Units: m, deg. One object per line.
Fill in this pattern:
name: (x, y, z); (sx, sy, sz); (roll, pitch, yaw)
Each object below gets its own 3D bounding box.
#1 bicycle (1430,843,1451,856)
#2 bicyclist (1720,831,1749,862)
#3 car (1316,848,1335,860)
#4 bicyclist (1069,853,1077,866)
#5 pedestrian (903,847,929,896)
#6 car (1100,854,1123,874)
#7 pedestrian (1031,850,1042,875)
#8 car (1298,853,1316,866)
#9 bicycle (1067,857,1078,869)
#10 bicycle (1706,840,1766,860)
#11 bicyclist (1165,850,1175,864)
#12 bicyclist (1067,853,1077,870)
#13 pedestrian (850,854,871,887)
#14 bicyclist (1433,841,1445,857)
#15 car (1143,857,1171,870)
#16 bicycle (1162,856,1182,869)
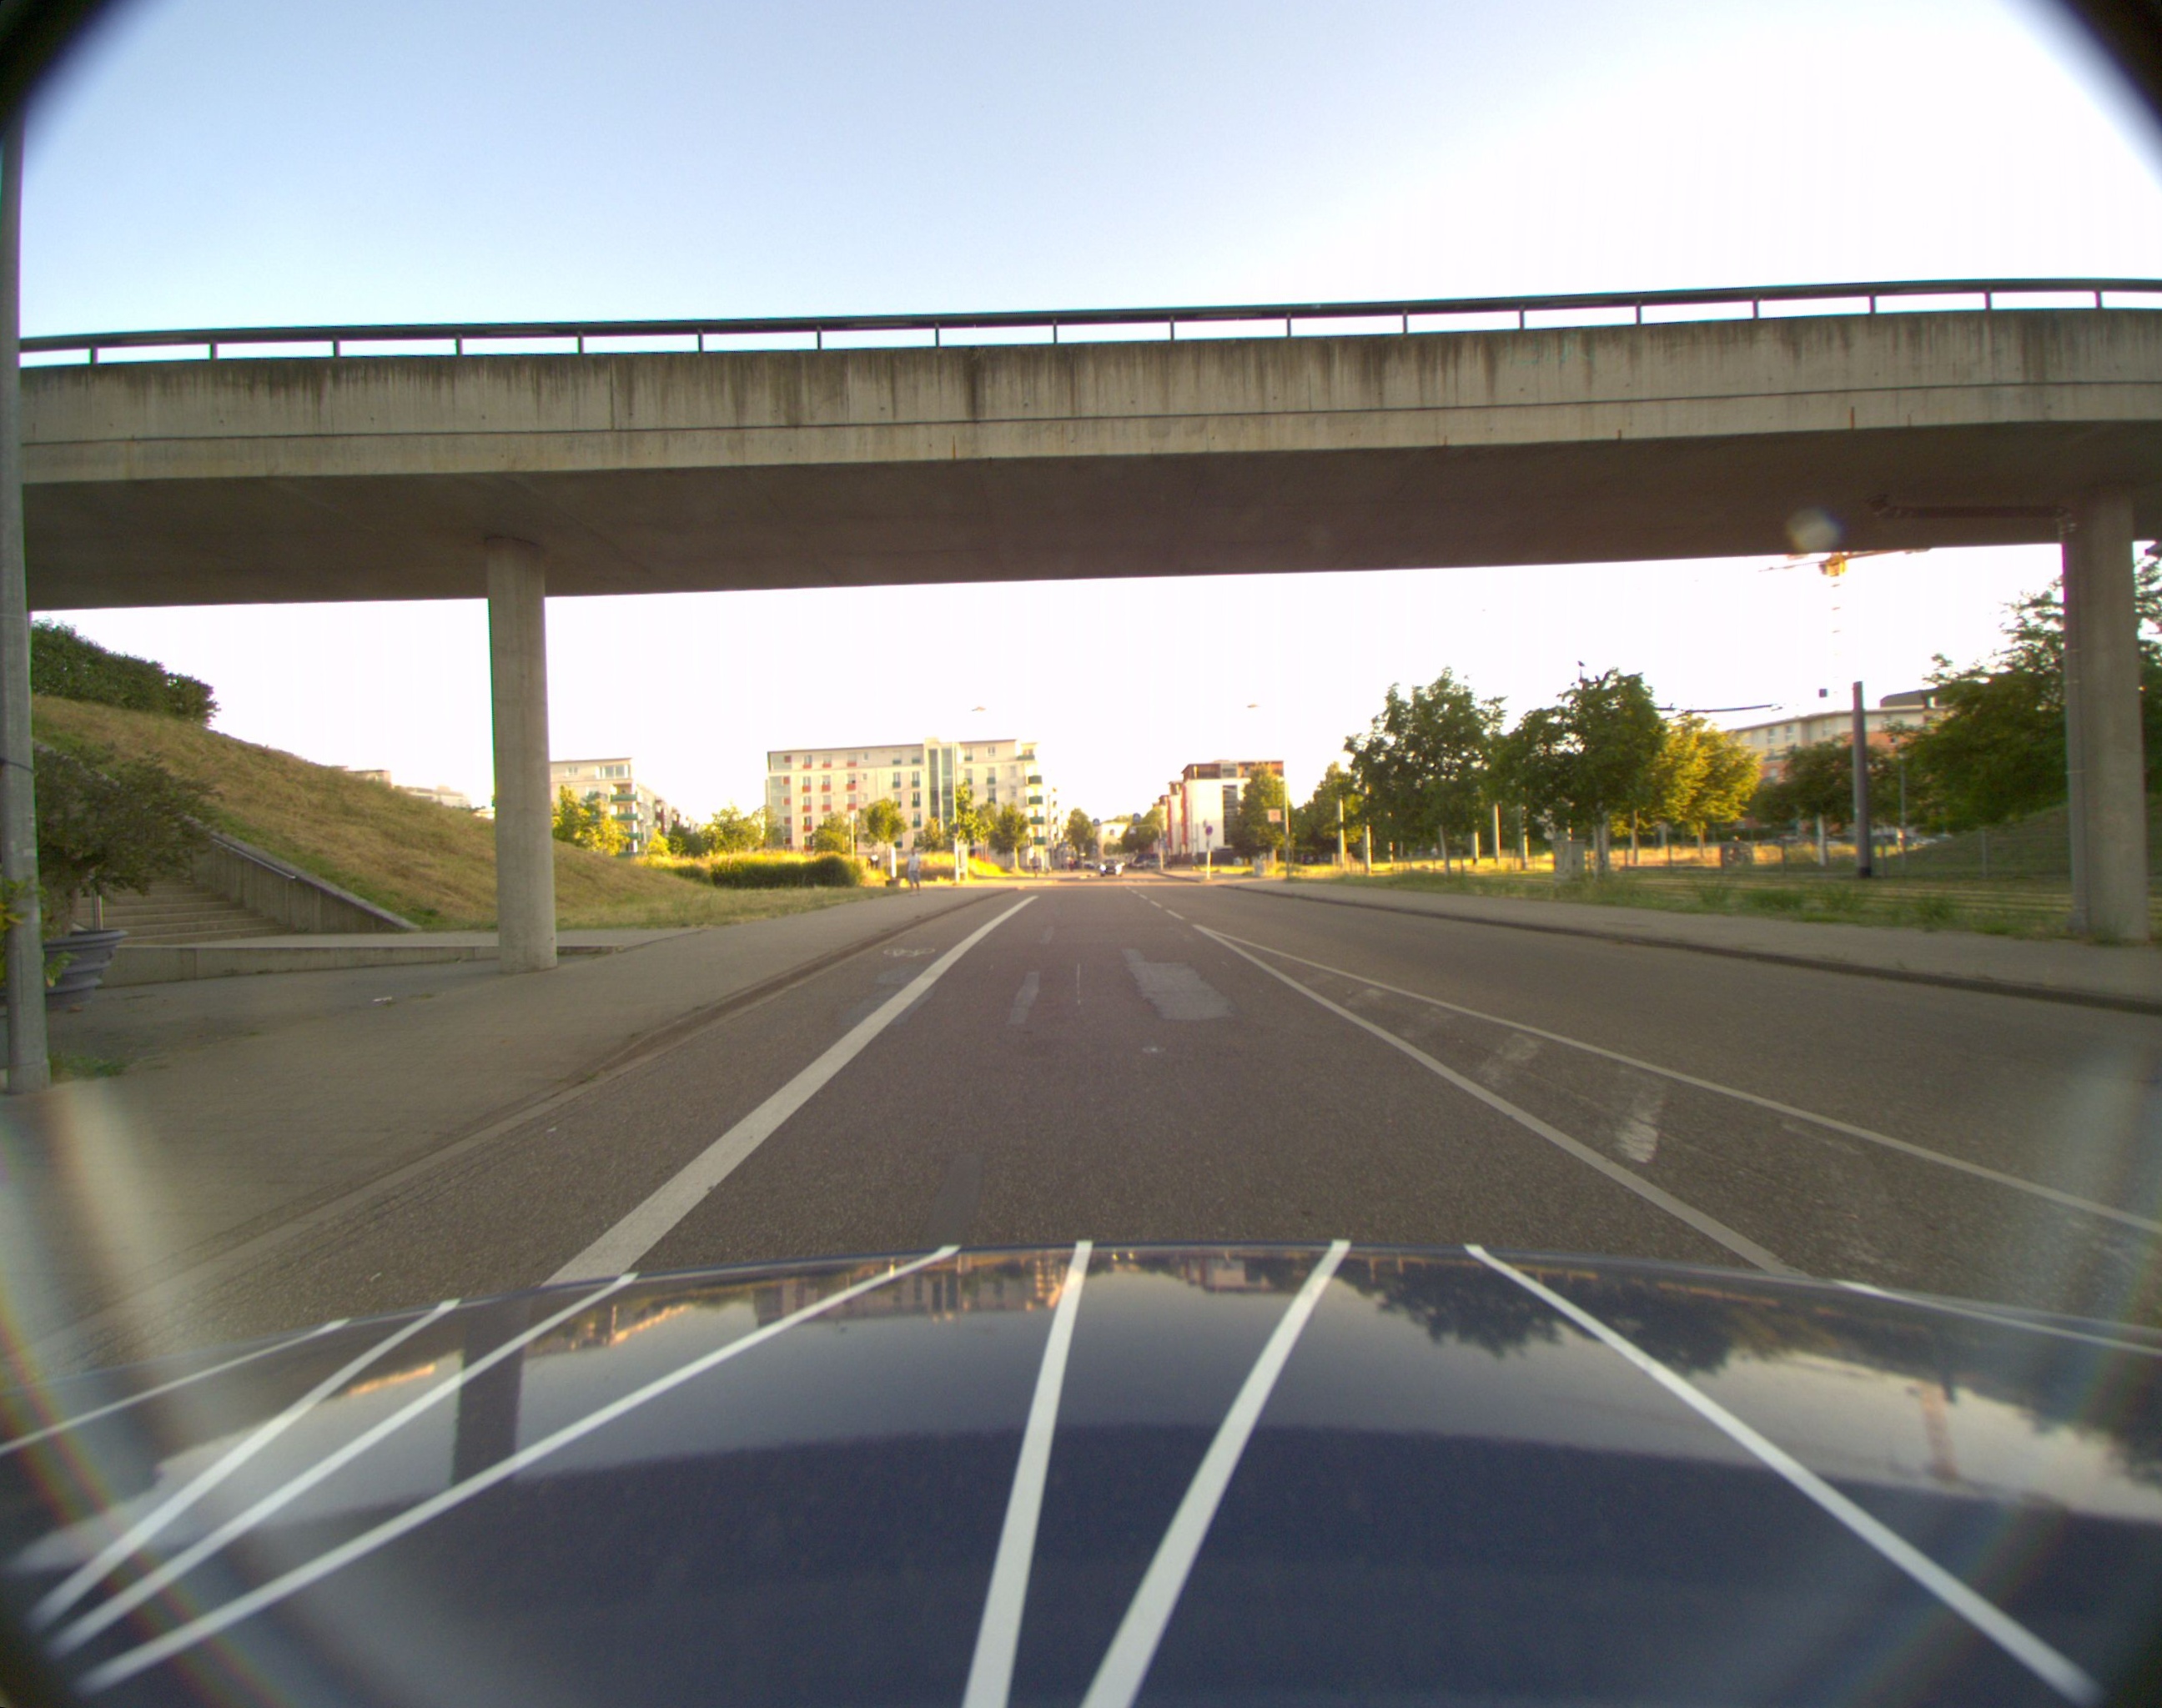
bicycle: (43.333, -0.575, 91.580); (3.327, 1.483, 0.885); (-2, 0, -37)
bicyclist: (35.937, -0.400, 41.789); (0.910, 1.622, 0.717); (-2, 0, -4)
car: (31.122, -0.017, 96.788); (1.942, 1.521, 4.004); (-2, 0, 14)
bicyclist: (-1.043, 0.685, 98.345); (0.696, 1.630, 0.853); (-2, 0, 19)
pedestrian: (-5.941, 0.614, 27.376); (0.737, 1.714, 0.906); (0, 0, 1)
car: (2.397, 0.781, 60.522); (1.739, 1.455, 4.000); (-2, 0, 1)
pedestrian: (-3.154, 0.600, 53.927); (0.737, 1.714, 0.532); (0, 0, 1)
car: (28.915, 0.677, 97.140); (1.942, 1.521, 4.004); (-2, 0, 14)
bicycle: (-0.861, 0.875, 75.091); (0.900, 1.142, 3.497); (-2, 0, -4)
bicycle: (35.904, -0.199, 41.654); (2.842, 1.002, 0.655); (-2, 0, -3)
bicyclist: (10.673, 0.407, 91.592); (0.859, 1.653, 0.918); (-2, 0, -16)
bicyclist: (-0.863, 0.733, 74.685); (0.932, 1.585, 1.068); (-2, 0, 0)
pedestrian: (-10.848, 0.815, 37.430); (0.737, 1.620, 0.859); (0, 0, 2)
bicyclist: (43.114, -0.586, 91.427); (1.036, 1.865, 0.881); (-1, 1, -37)
car: (11.440, 1.418, 113.984); (3.996, 1.718, 2.000); (-2, 0, 2)
bicycle: (10.901, 1.019, 91.176); (1.019, 1.560, 3.538); (-2, 0, -15)
